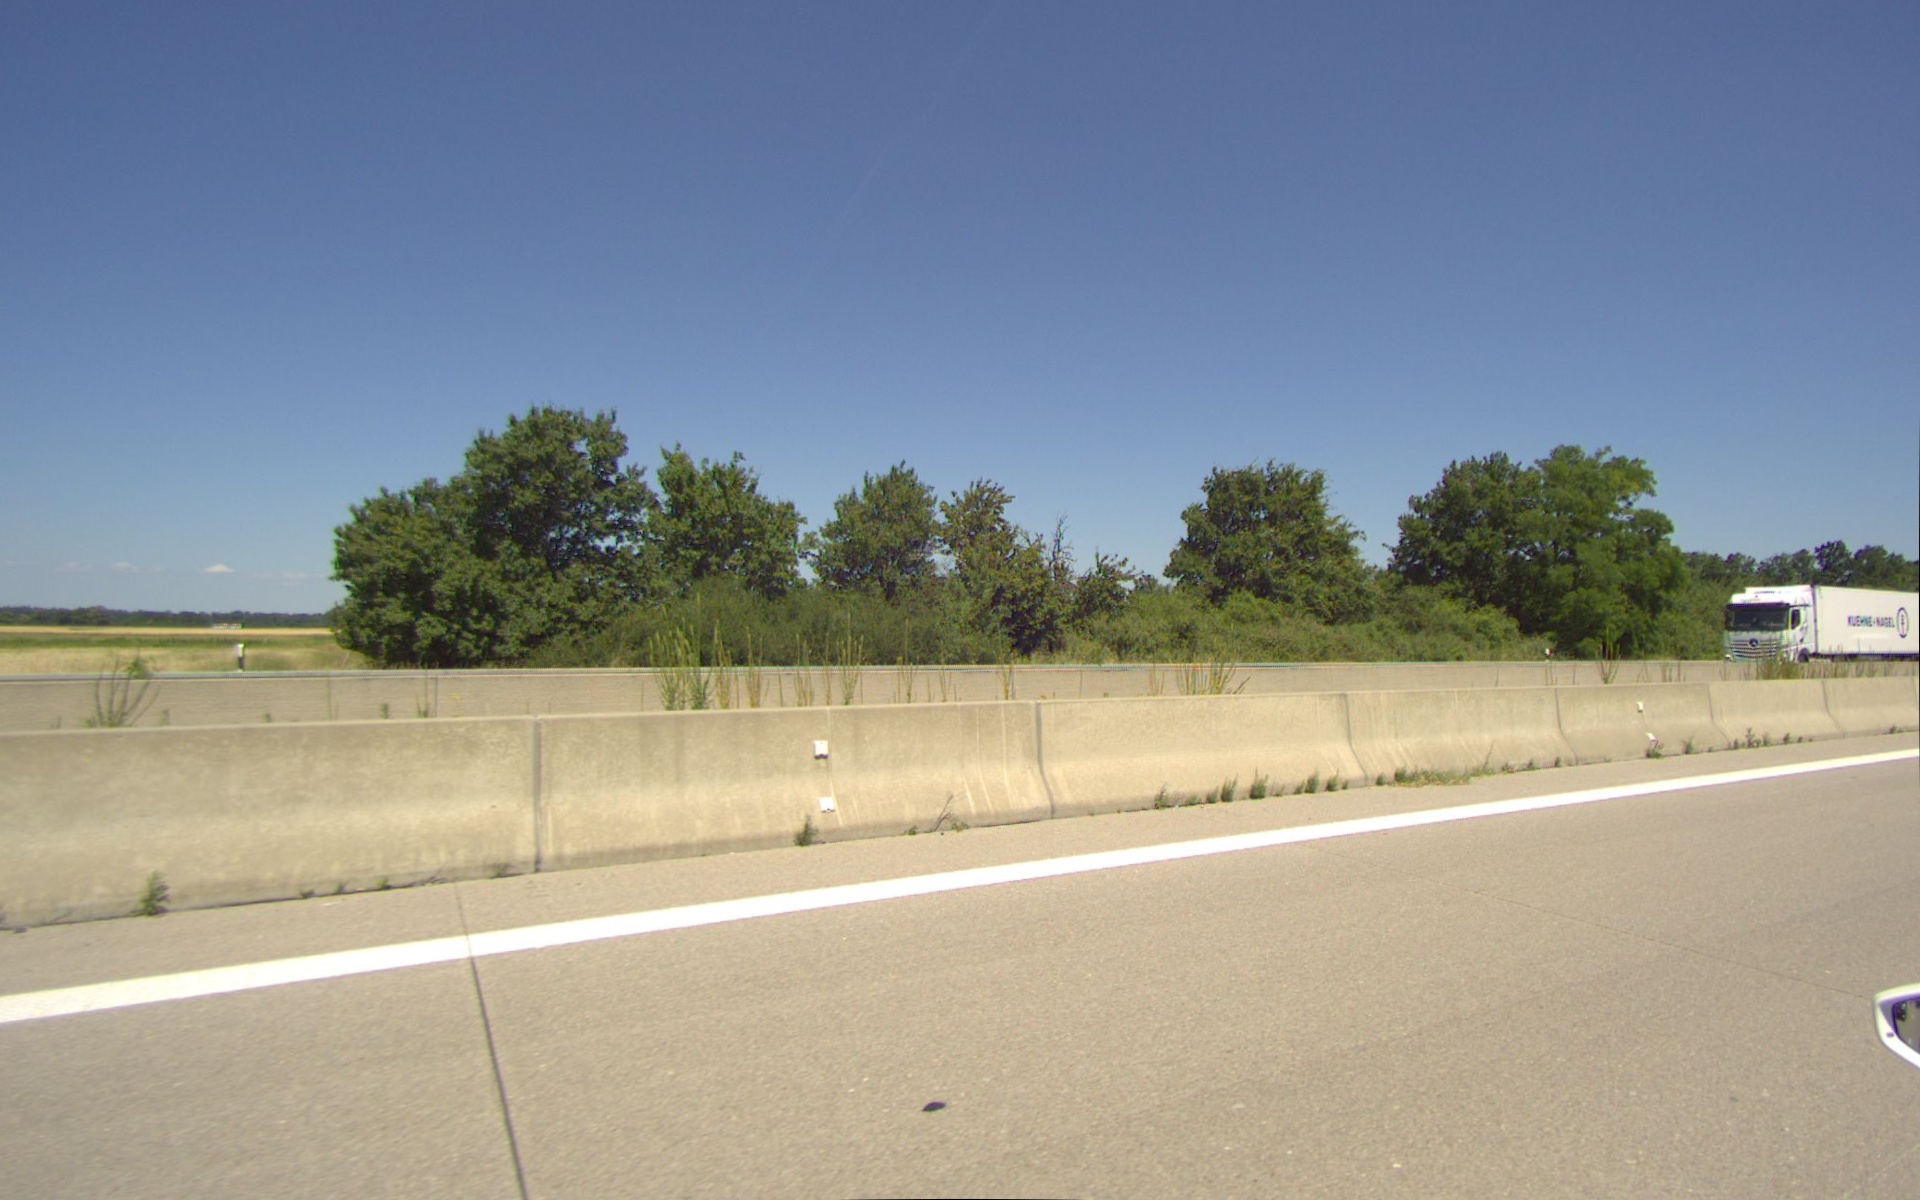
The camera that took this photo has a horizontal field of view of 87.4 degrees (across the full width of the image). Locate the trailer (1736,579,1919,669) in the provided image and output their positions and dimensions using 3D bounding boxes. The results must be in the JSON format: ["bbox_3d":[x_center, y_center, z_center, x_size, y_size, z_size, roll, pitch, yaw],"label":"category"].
[{"bbox_3d":[42.322,1.178,48.205,13.868,3.889,3.145,1,0,-31],"label":"trailer"}]

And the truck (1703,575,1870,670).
[{"bbox_3d":[37.177,1.008,45.127,8.276,3.960,3.145,1,0,-31],"label":"truck"}]
